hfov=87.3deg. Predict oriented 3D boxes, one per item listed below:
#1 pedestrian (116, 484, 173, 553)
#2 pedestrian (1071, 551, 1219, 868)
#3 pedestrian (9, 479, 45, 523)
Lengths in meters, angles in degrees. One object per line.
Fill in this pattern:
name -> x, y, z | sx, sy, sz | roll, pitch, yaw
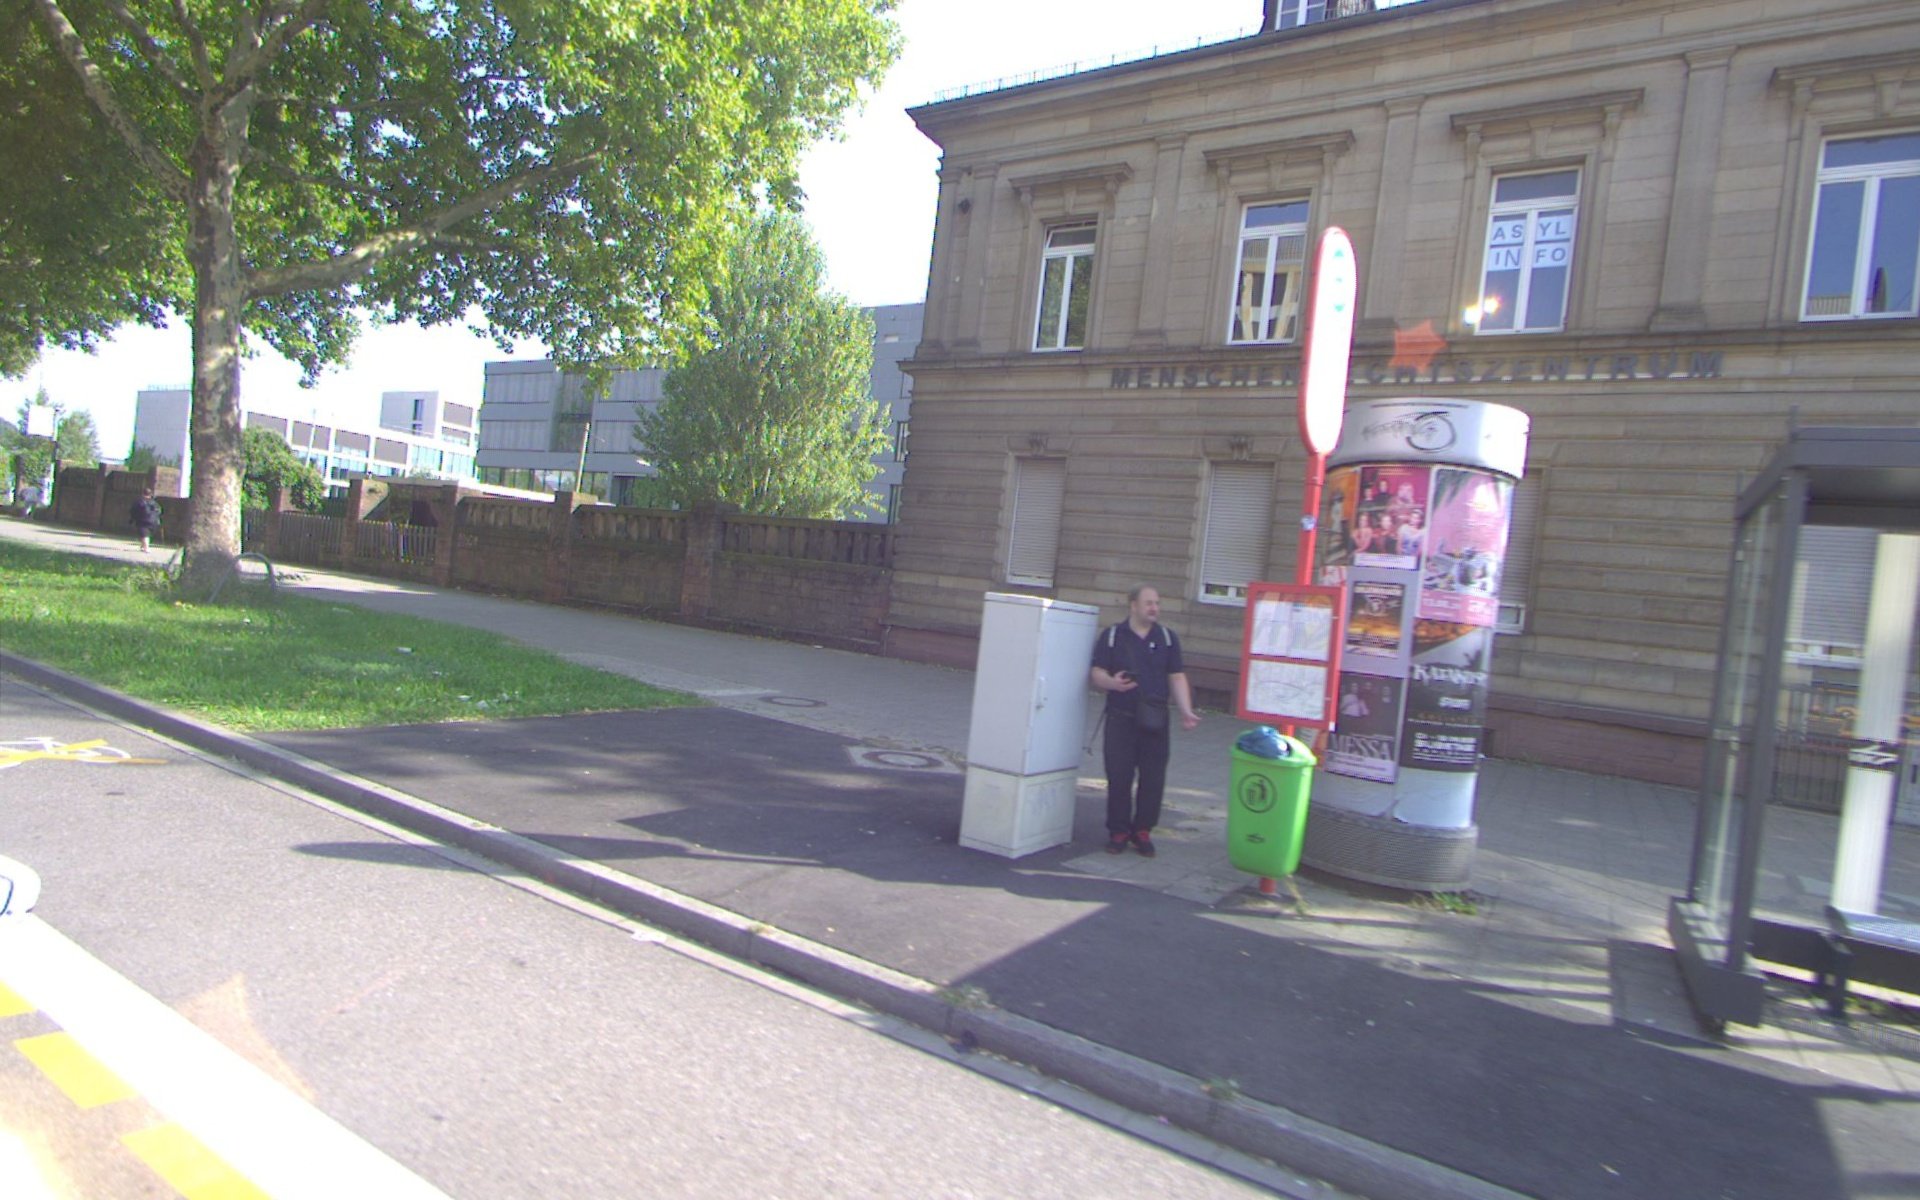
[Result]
pedestrian -> -21.666, -2.164, 26.730 | 0.995, 1.708, 0.819 | 7, 2, 32
pedestrian -> 1.101, 0.616, 6.014 | 0.636, 1.718, 0.690 | 7, 2, 11
pedestrian -> -37.282, -3.946, 40.209 | 0.931, 1.625, 0.806 | 7, 3, 32
